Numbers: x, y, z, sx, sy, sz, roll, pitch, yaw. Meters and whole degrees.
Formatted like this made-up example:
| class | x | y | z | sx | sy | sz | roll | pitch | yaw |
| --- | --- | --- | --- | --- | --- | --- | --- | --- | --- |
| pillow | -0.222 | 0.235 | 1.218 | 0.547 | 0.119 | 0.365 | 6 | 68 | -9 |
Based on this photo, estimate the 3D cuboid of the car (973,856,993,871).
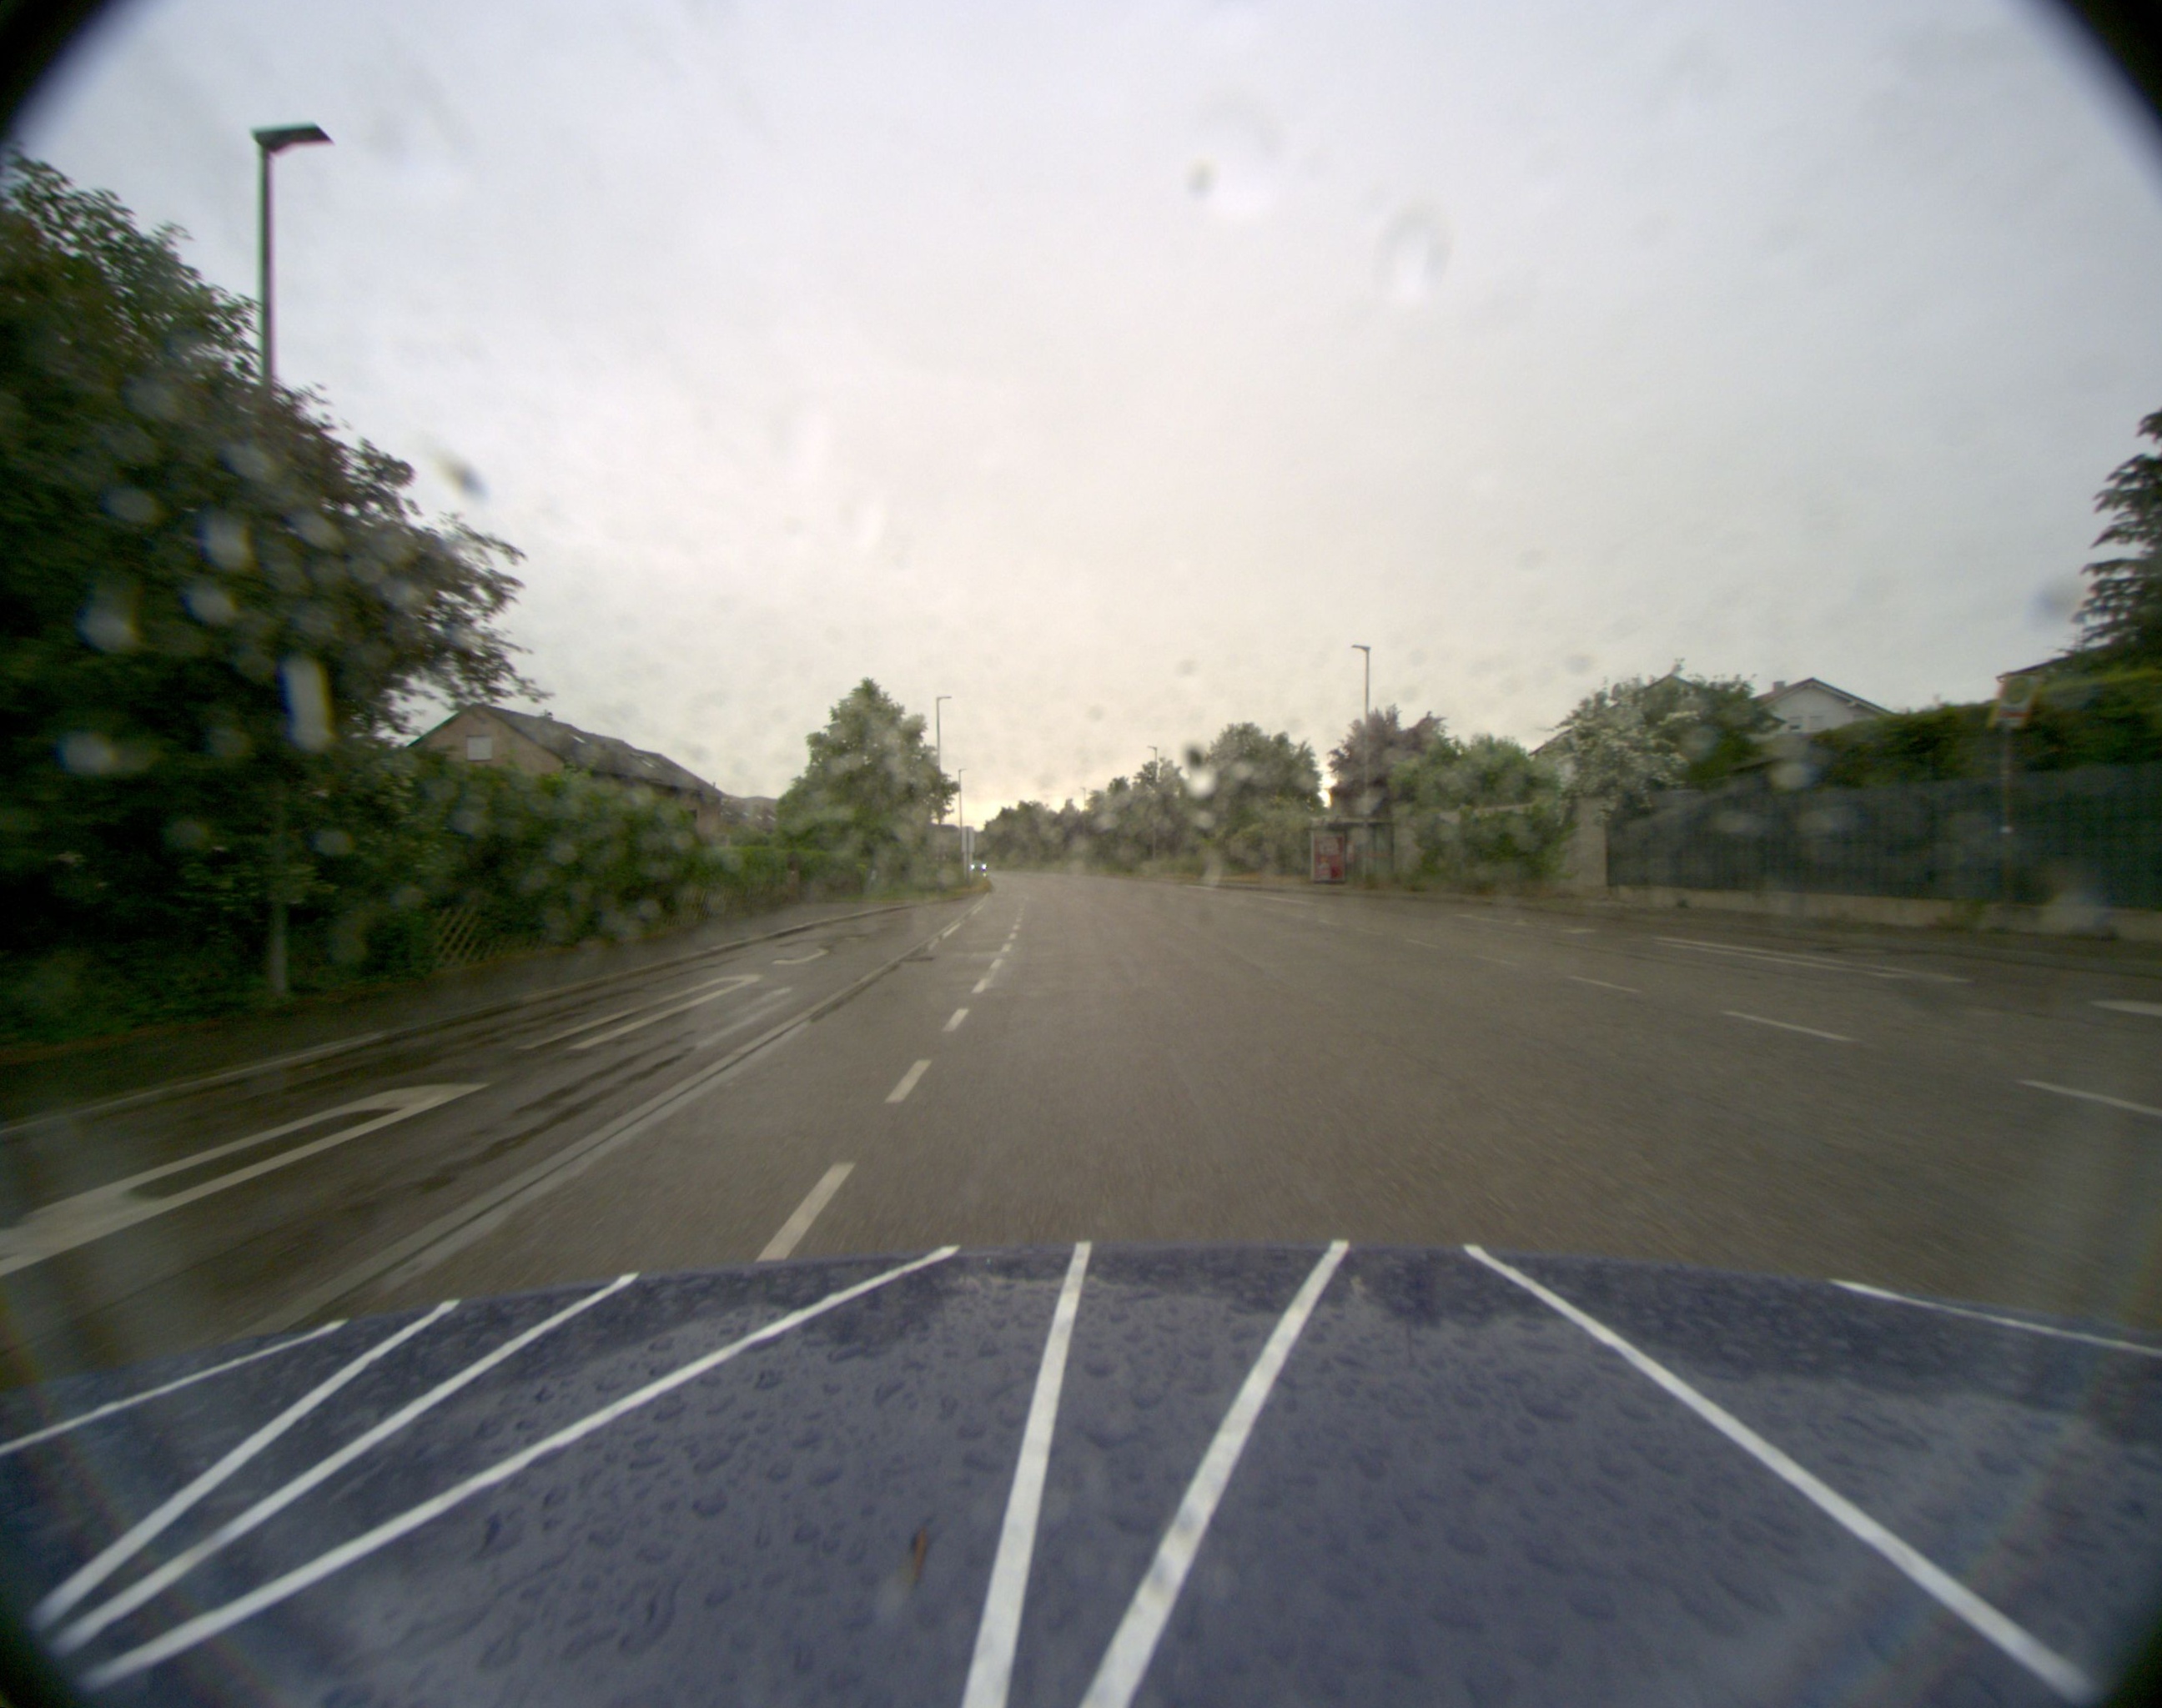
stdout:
| class | x | y | z | sx | sy | sz | roll | pitch | yaw |
| --- | --- | --- | --- | --- | --- | --- | --- | --- | --- |
| car | -12.139 | 1.143 | 93.737 | 2.001 | 1.831 | 3.995 | 0 | 0 | -13 |
